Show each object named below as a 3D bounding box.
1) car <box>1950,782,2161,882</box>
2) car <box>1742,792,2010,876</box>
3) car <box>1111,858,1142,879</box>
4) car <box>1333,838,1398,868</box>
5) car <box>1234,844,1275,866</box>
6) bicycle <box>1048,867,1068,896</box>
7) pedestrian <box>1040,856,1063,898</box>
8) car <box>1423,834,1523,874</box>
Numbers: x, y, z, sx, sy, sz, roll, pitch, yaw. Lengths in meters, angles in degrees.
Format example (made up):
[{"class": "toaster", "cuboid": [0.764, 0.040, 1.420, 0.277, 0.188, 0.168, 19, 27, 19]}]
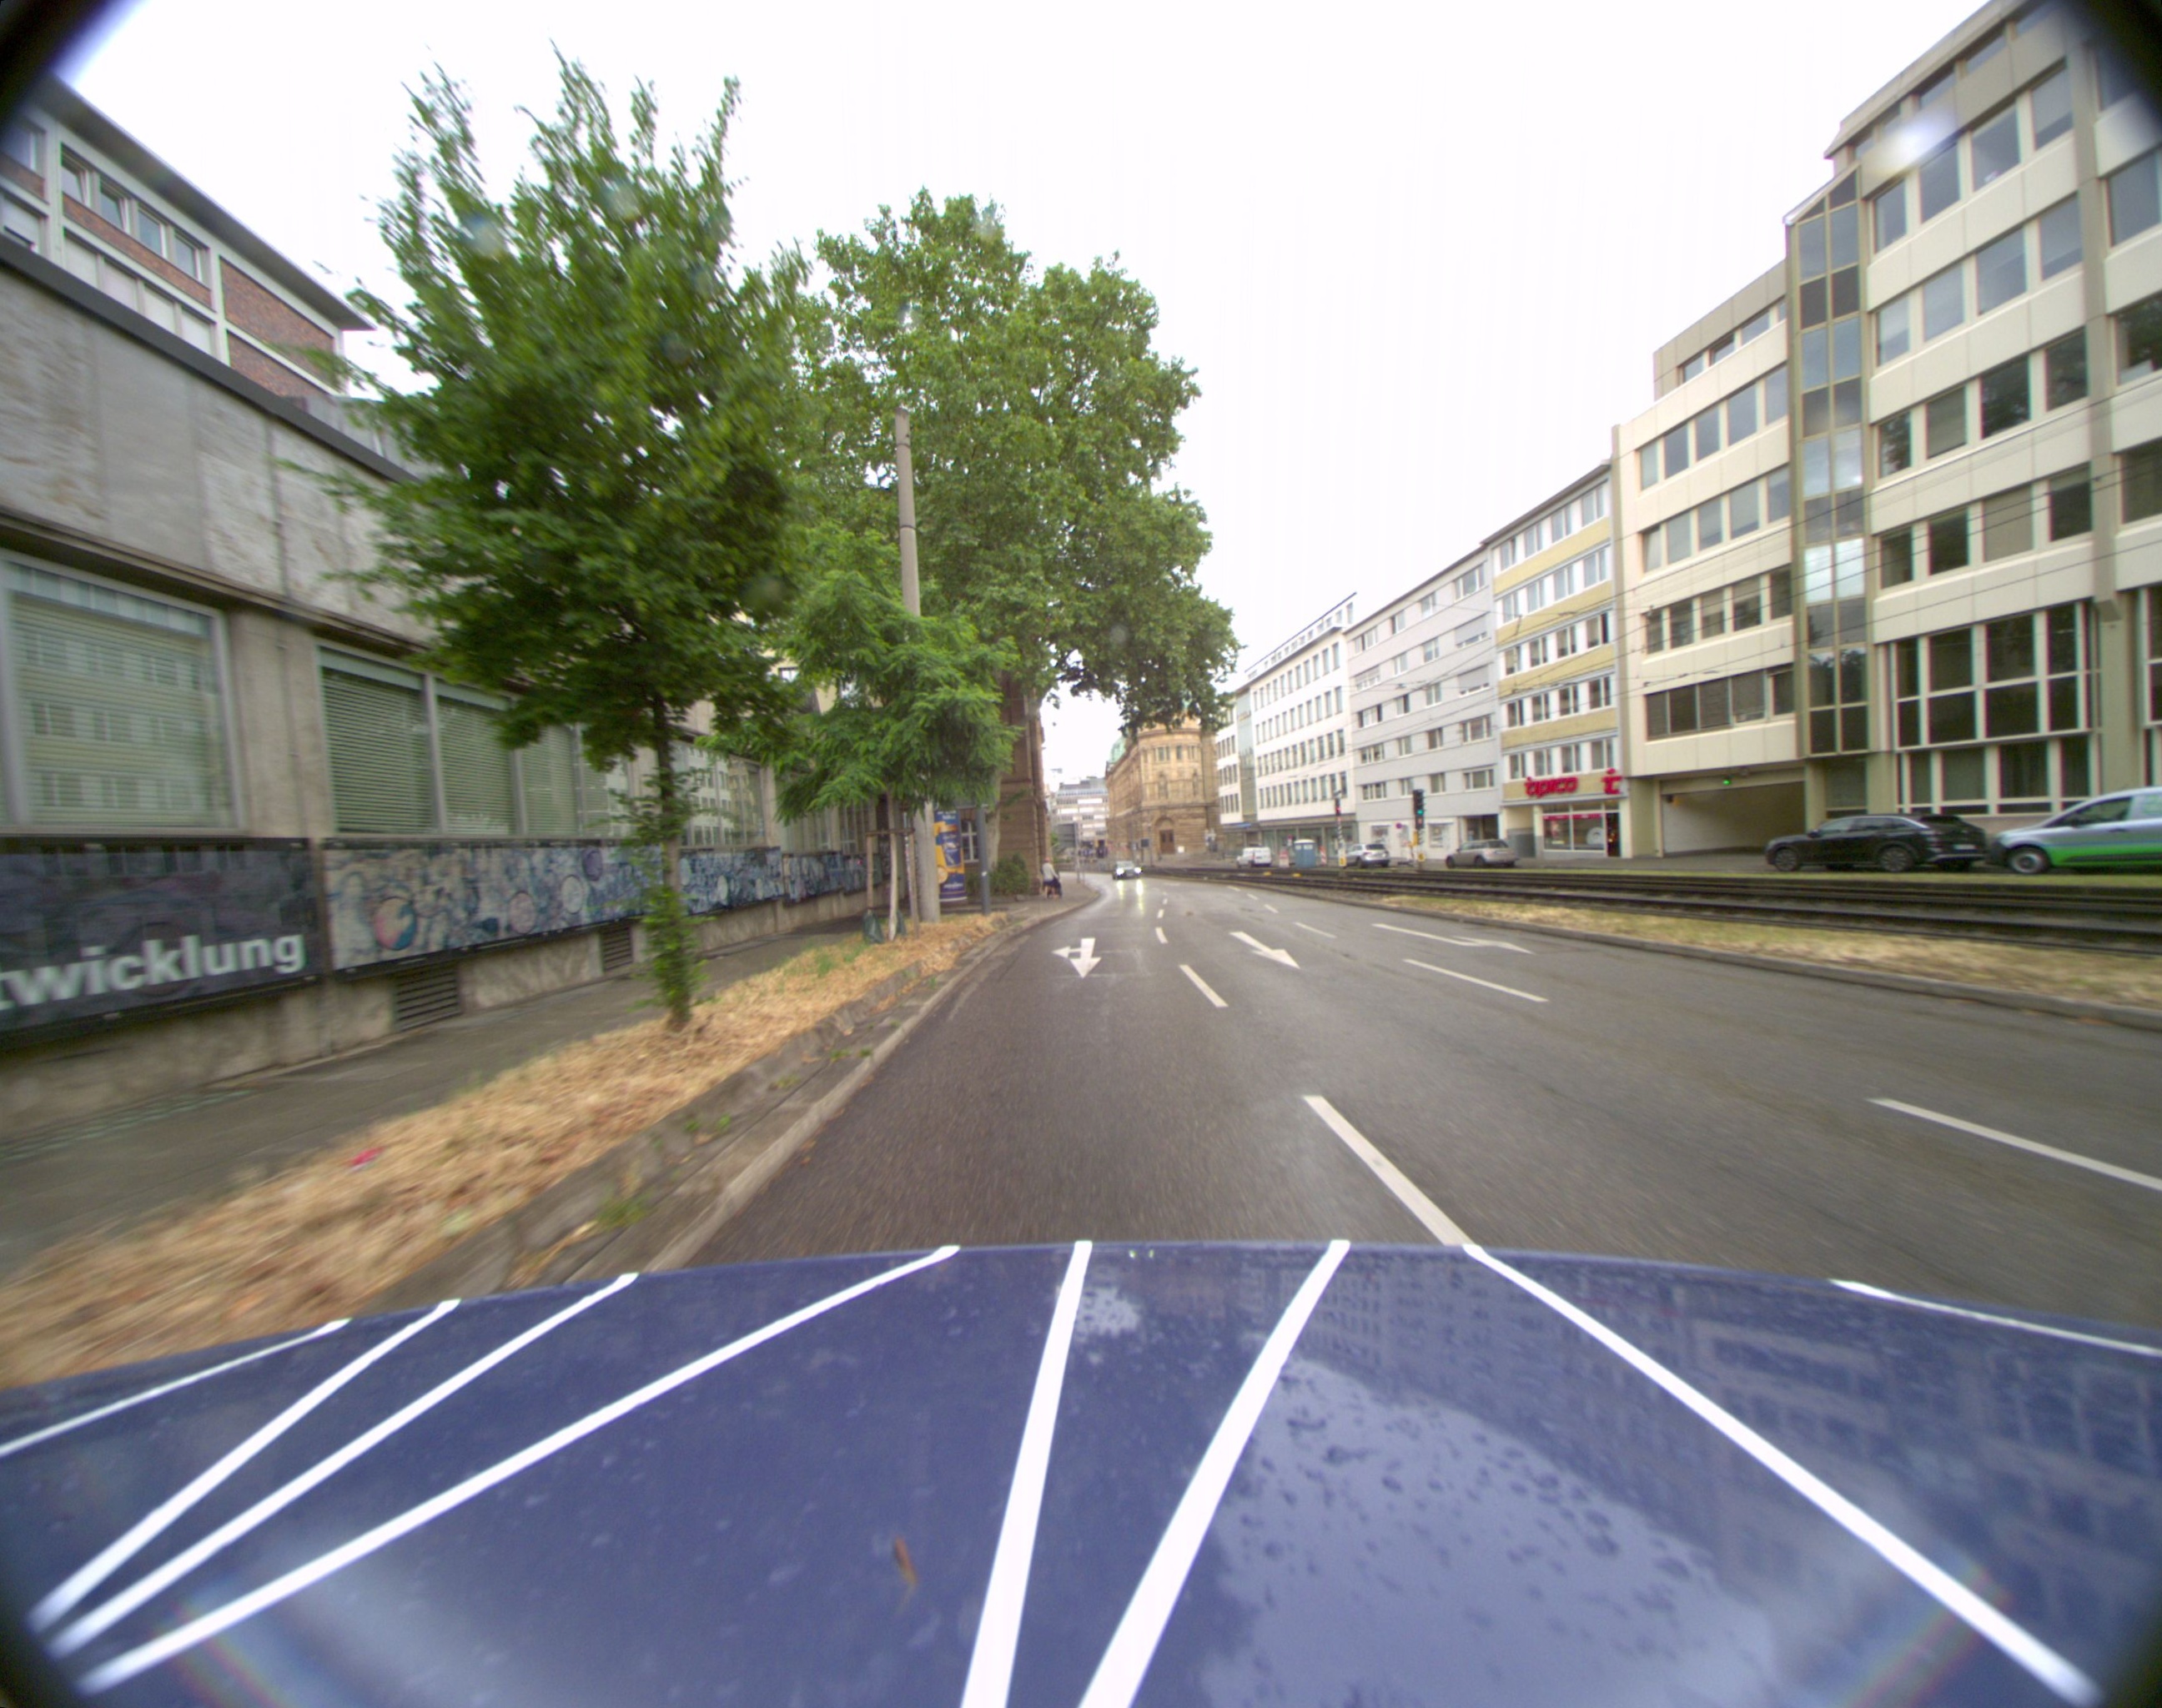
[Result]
[{"class": "car", "cuboid": [21.492, -0.485, 15.434, 1.999, 1.840, 4.691, -6, 1, -7]}, {"class": "car", "cuboid": [21.113, -0.509, 20.547, 1.999, 1.840, 4.691, -6, 1, -7]}, {"class": "car", "cuboid": [3.643, 1.170, 61.763, 1.999, 1.458, 4.643, -5, 0, -1]}, {"class": "car", "cuboid": [18.299, 0.001, 49.072, 1.999, 1.664, 4.694, -6, 0, -5]}, {"class": "car", "cuboid": [16.332, 0.062, 71.755, 1.999, 1.832, 5.127, -6, 1, -7]}, {"class": "bicycle", "cuboid": [-1.002, 1.194, 32.910, 0.620, 1.213, 0.911, -2, 0, 12]}, {"class": "pedestrian", "cuboid": [-1.219, 0.950, 31.948, 0.719, 1.732, 1.020, -1, 0, 11]}, {"class": "car", "cuboid": [19.300, -0.025, 37.663, 1.999, 1.664, 4.691, -6, 1, -7]}]
